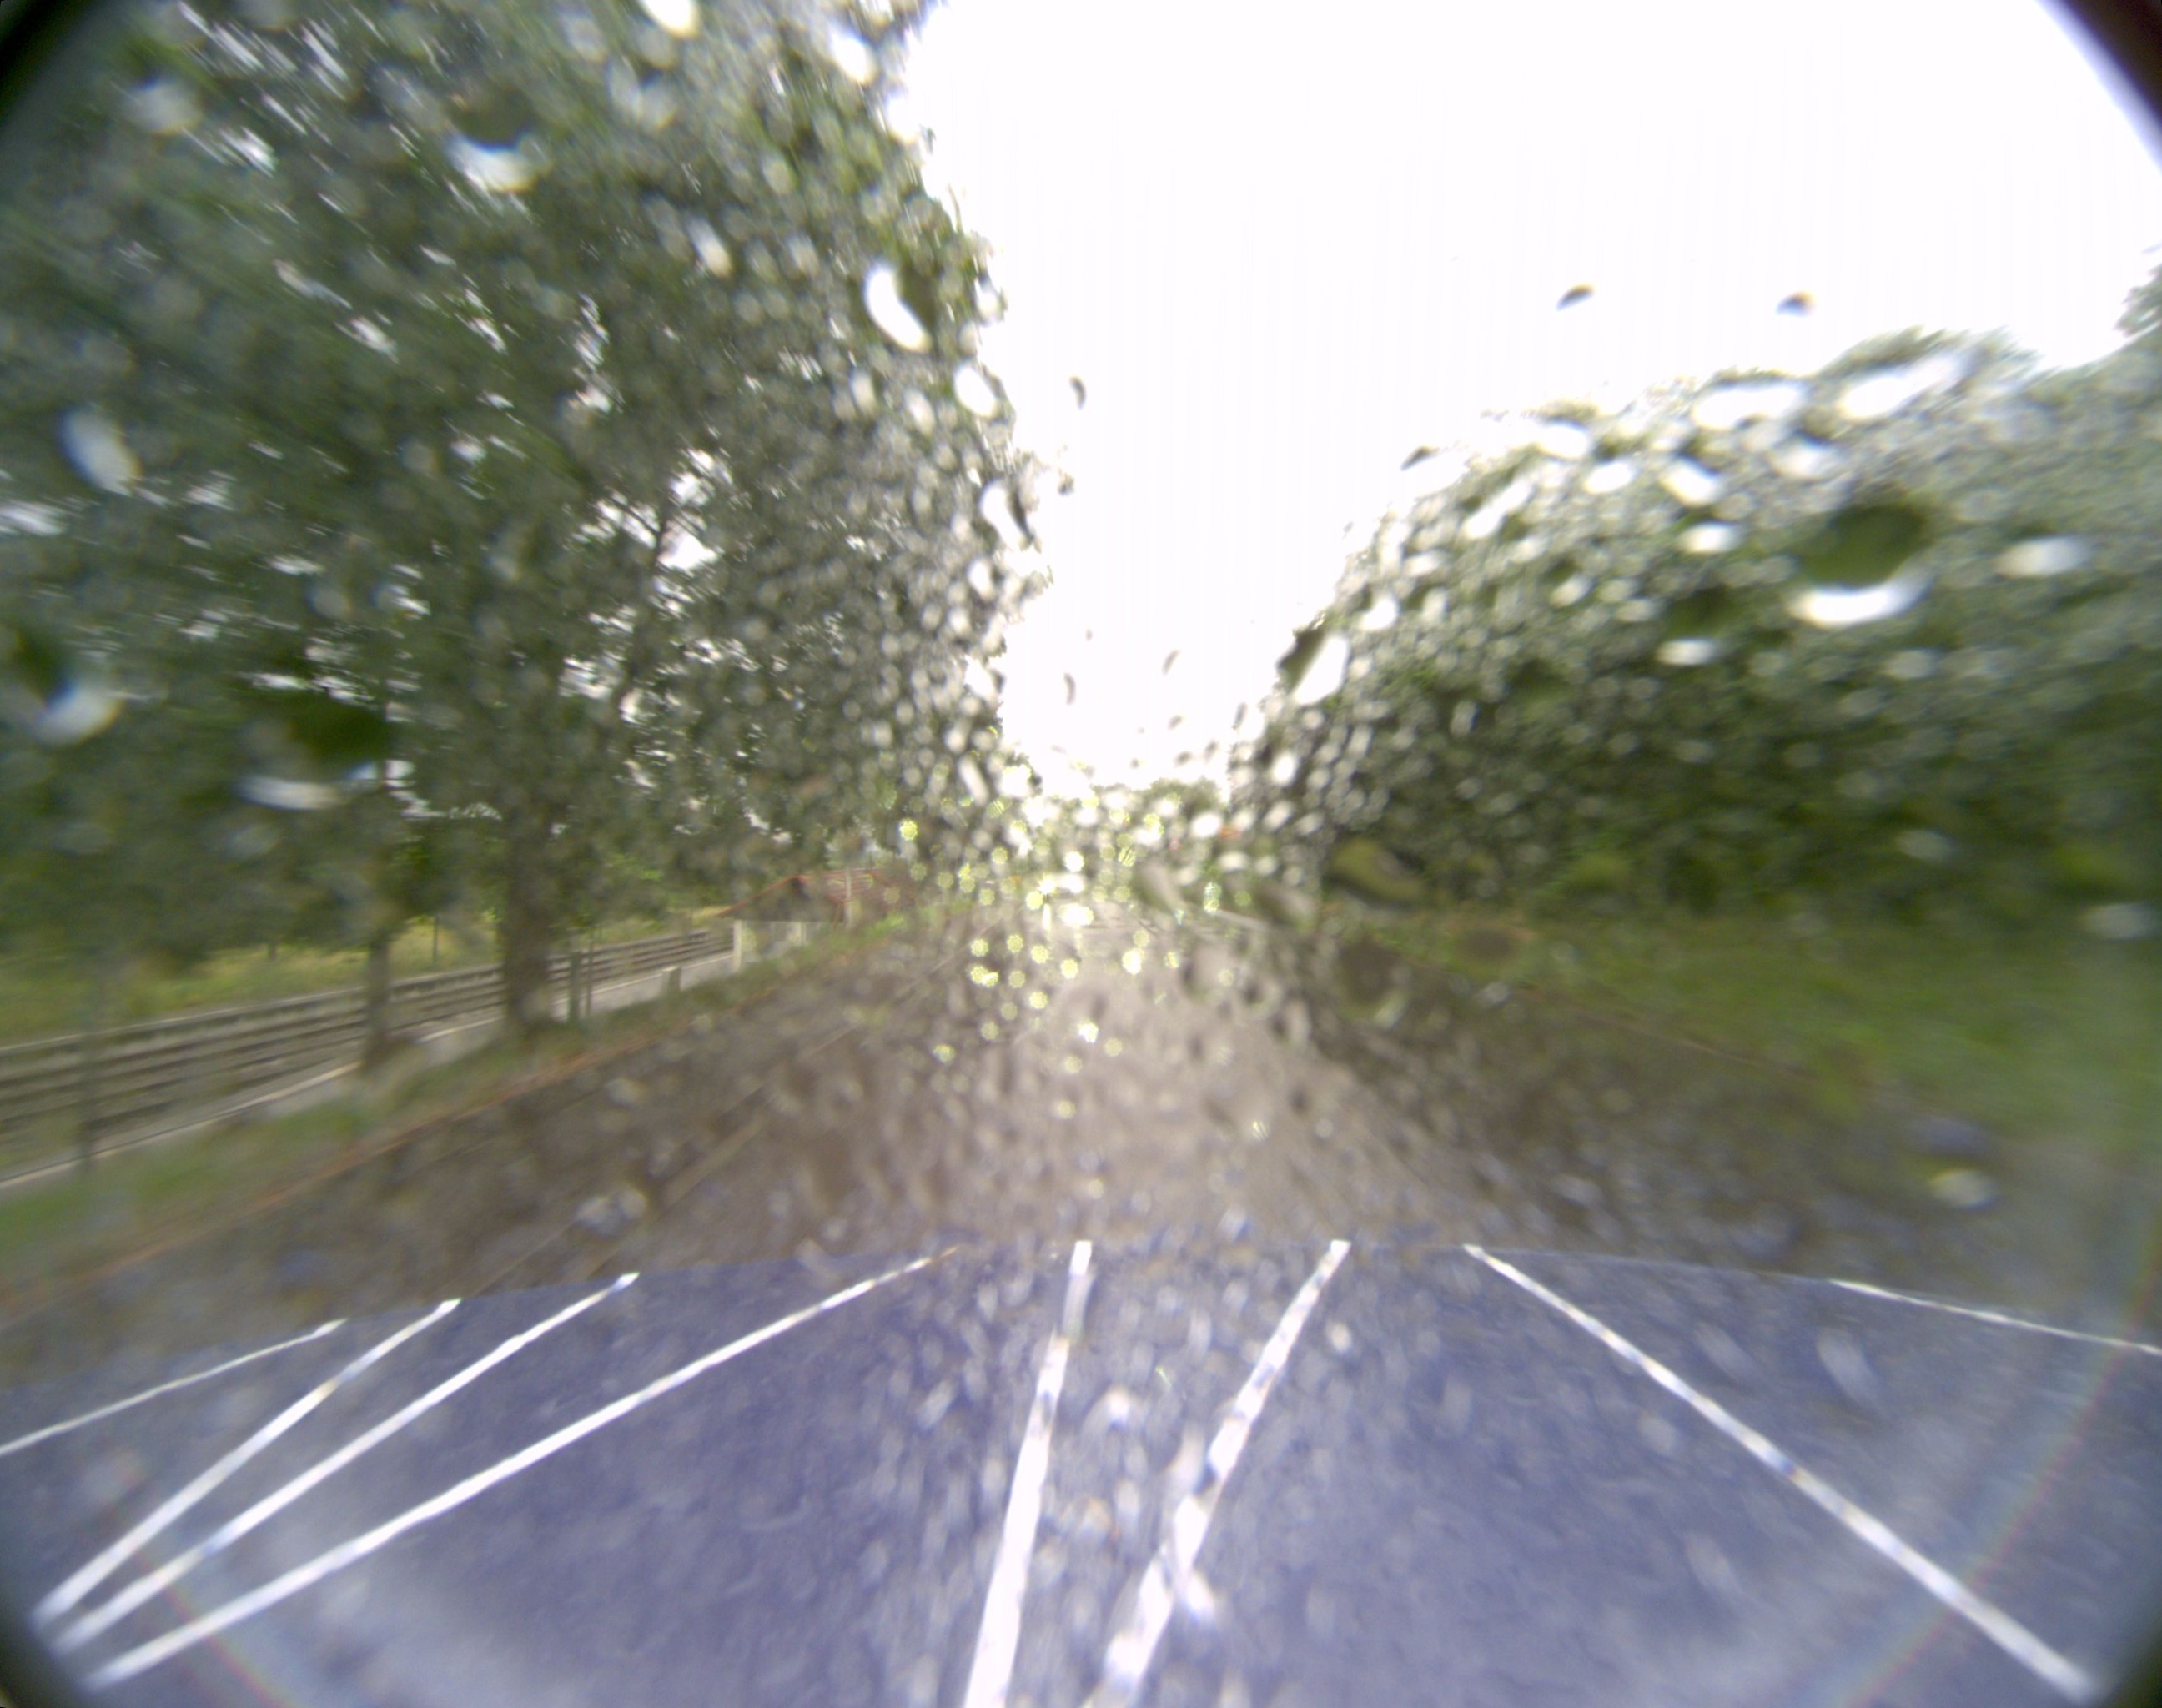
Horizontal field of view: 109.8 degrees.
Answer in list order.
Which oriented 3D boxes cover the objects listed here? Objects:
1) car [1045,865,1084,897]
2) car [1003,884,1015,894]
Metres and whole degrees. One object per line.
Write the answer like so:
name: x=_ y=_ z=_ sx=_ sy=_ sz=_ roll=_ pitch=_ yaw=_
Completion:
car: x=-0.848 y=1.339 z=37.469 sx=1.765 sy=1.476 sz=3.791 roll=2 pitch=-2 yaw=-2
car: x=-15.428 y=7.487 z=162.524 sx=2.001 sy=2.001 sz=3.997 roll=1 pitch=-1 yaw=-11
